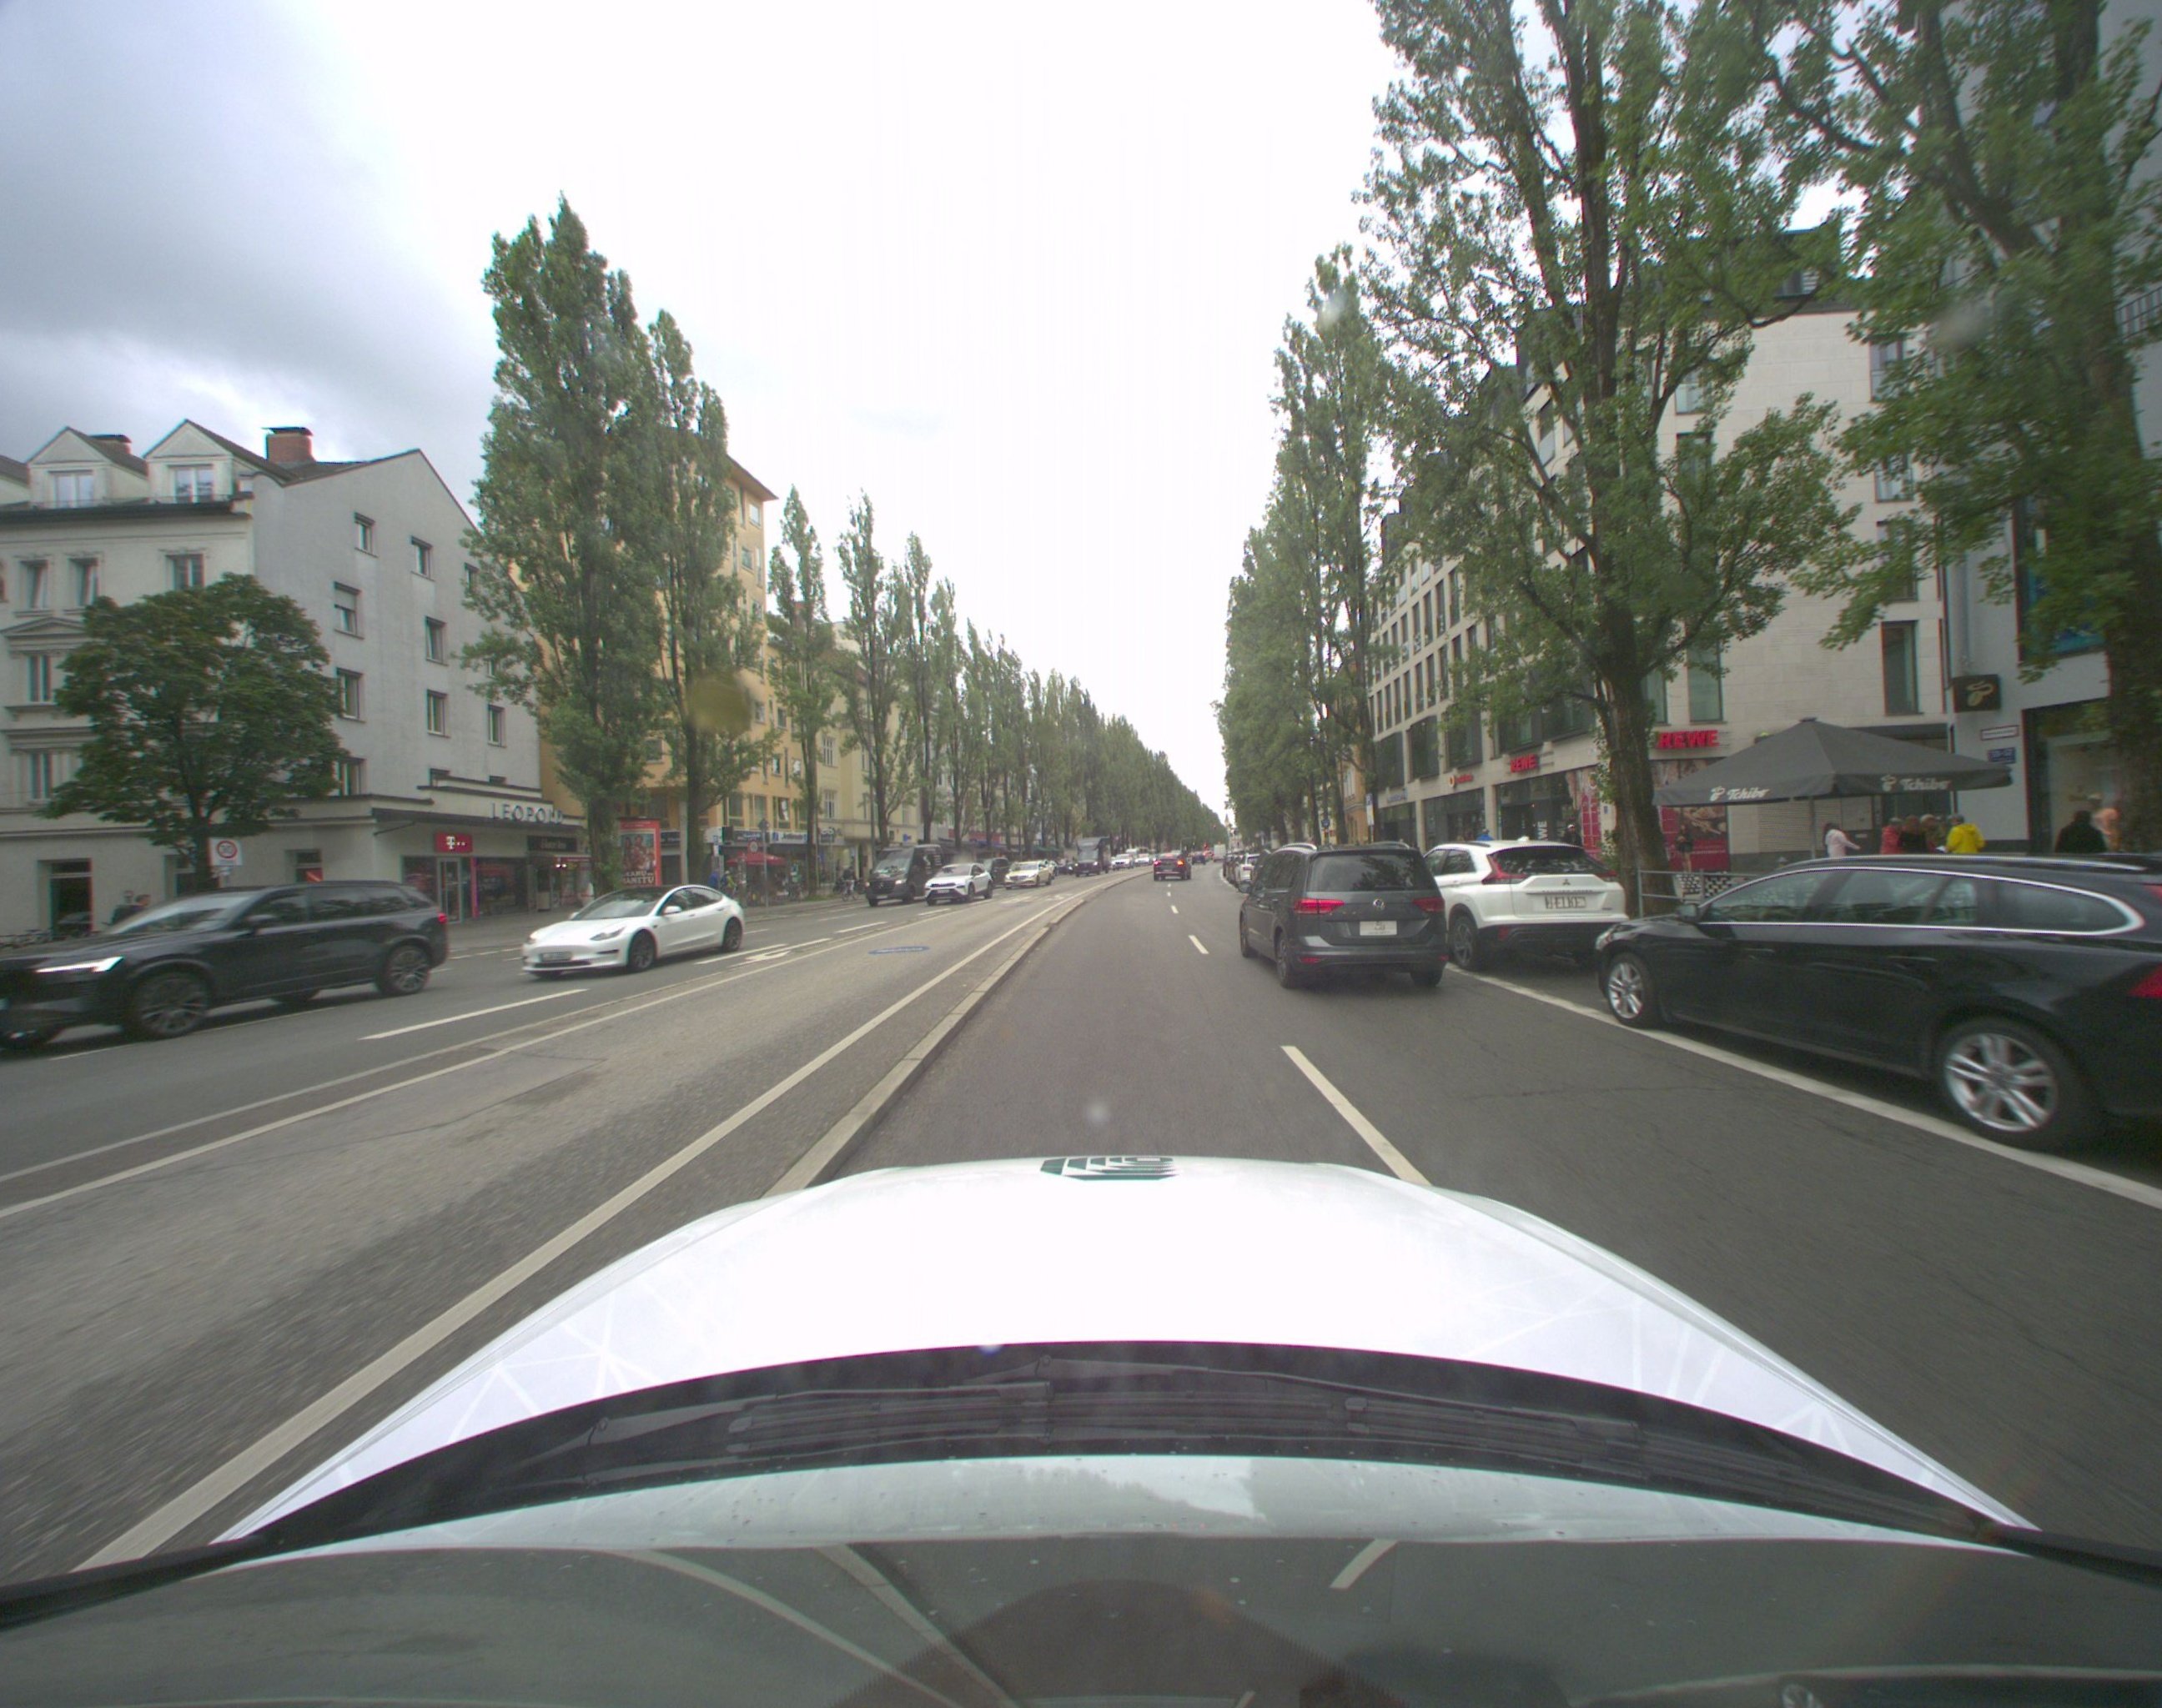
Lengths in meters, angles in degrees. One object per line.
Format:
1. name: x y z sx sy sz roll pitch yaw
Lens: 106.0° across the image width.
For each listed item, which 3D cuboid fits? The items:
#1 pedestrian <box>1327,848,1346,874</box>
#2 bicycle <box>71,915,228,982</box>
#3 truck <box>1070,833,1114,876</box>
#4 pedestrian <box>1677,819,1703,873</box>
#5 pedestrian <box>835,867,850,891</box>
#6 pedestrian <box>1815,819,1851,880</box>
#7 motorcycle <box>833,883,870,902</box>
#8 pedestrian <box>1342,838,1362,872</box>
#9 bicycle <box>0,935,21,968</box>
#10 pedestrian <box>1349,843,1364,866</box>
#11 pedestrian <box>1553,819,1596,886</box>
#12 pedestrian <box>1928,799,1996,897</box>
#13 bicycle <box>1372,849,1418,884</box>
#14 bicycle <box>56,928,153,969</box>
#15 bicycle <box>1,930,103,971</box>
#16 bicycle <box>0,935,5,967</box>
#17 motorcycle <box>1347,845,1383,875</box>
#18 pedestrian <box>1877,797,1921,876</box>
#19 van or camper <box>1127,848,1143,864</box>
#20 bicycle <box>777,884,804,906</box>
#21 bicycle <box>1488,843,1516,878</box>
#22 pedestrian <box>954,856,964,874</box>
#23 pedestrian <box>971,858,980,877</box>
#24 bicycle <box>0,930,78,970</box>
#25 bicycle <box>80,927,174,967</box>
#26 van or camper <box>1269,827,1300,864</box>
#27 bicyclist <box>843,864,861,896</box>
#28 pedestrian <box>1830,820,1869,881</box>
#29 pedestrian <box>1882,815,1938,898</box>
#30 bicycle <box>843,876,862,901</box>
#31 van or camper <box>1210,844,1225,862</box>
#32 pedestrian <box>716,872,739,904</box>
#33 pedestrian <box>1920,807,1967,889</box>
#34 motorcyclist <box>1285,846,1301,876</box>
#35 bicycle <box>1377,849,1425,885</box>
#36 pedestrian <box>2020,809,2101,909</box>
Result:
1. pedestrian: 15.819 0.448 50.364 0.830 1.576 0.939 -3 0 3
2. bicycle: -22.501 2.254 19.747 0.839 1.308 2.315 -3 0 19
3. truck: 1.013 0.044 68.692 2.277 3.322 7.178 -4 0 10
4. pedestrian: 20.131 -0.260 26.929 0.465 1.751 0.428 -3 0 7
5. pedestrian: -16.322 1.715 55.693 0.629 1.561 0.818 -3 0 12
6. pedestrian: 20.320 -0.109 22.008 0.502 1.624 0.502 -1 -1 15
7. motorcycle: -13.406 2.224 47.602 2.055 1.036 0.485 -1 -1 -10
8. pedestrian: 15.507 0.050 46.650 0.813 1.869 0.940 -3 0 7
9. bicycle: -33.010 2.980 24.190 0.456 0.964 1.883 -3 0 4
10. pedestrian: 19.404 0.026 57.308 0.606 1.551 0.711 -4 0 -17
11. pedestrian: 14.831 -0.041 24.480 0.644 1.924 0.926 -3 0 2
12. pedestrian: 15.211 -0.096 14.071 0.488 1.634 0.570 -3 0 5
13. bicycle: 11.631 0.474 30.179 1.472 1.207 0.536 -3 0 2
14. bicycle: -28.741 2.765 24.011 0.456 0.964 1.883 -3 0 4
15. bicycle: -29.800 2.781 23.624 0.456 0.964 1.883 -3 0 4
16. bicycle: -33.528 2.991 24.224 0.456 0.964 1.883 -3 0 4
17. motorcycle: 13.101 0.283 37.615 0.687 1.356 1.634 -3 0 -16
18. pedestrian: 17.125 -0.363 17.053 0.551 1.624 0.502 0 -1 -33
19. van or camper: 8.885 0.271 134.154 1.981 2.458 4.264 -3 0 11
20. bicycle: -14.175 1.977 39.756 0.456 0.964 1.883 -3 0 4
21. bicycle: 14.804 0.207 28.671 0.447 1.172 1.775 -3 0 15
22. pedestrian: -11.445 1.021 76.586 0.634 1.700 0.650 -3 -1 10
23. pedestrian: -10.755 1.363 82.967 0.634 1.862 0.650 -3 0 10
24. bicycle: -30.597 2.797 23.659 0.456 0.964 1.883 -3 0 4
25. bicycle: -28.137 2.724 24.061 0.456 0.964 1.883 -3 0 4
26. van or camper: 18.632 -0.764 74.810 2.444 3.112 4.731 -3 0 12
27. bicyclist: -11.784 1.328 41.863 0.499 1.592 0.837 -3 0 11
28. pedestrian: 20.223 -0.096 21.436 0.502 1.580 0.554 -1 -1 15
29. pedestrian: 16.702 0.051 16.415 0.545 1.624 0.507 -1 -1 2
30. bicycle: -11.760 1.780 41.898 0.366 1.201 1.157 -3 0 12
31. van or camper: 20.205 -0.186 120.359 2.021 2.475 4.011 -3 -2 11
32. pedestrian: -18.344 1.744 42.271 0.835 1.625 0.765 -1 -1 9
33. pedestrian: 17.519 -0.109 16.557 0.501 1.624 0.552 -2 -1 33
34. motorcyclist: 10.329 0.348 39.741 0.561 1.406 0.767 -3 0 7
35. bicycle: 11.624 0.467 29.611 1.472 1.207 0.536 -3 0 2
36. pedestrian: 16.018 0.083 13.322 0.566 1.576 0.671 -3 0 -25
